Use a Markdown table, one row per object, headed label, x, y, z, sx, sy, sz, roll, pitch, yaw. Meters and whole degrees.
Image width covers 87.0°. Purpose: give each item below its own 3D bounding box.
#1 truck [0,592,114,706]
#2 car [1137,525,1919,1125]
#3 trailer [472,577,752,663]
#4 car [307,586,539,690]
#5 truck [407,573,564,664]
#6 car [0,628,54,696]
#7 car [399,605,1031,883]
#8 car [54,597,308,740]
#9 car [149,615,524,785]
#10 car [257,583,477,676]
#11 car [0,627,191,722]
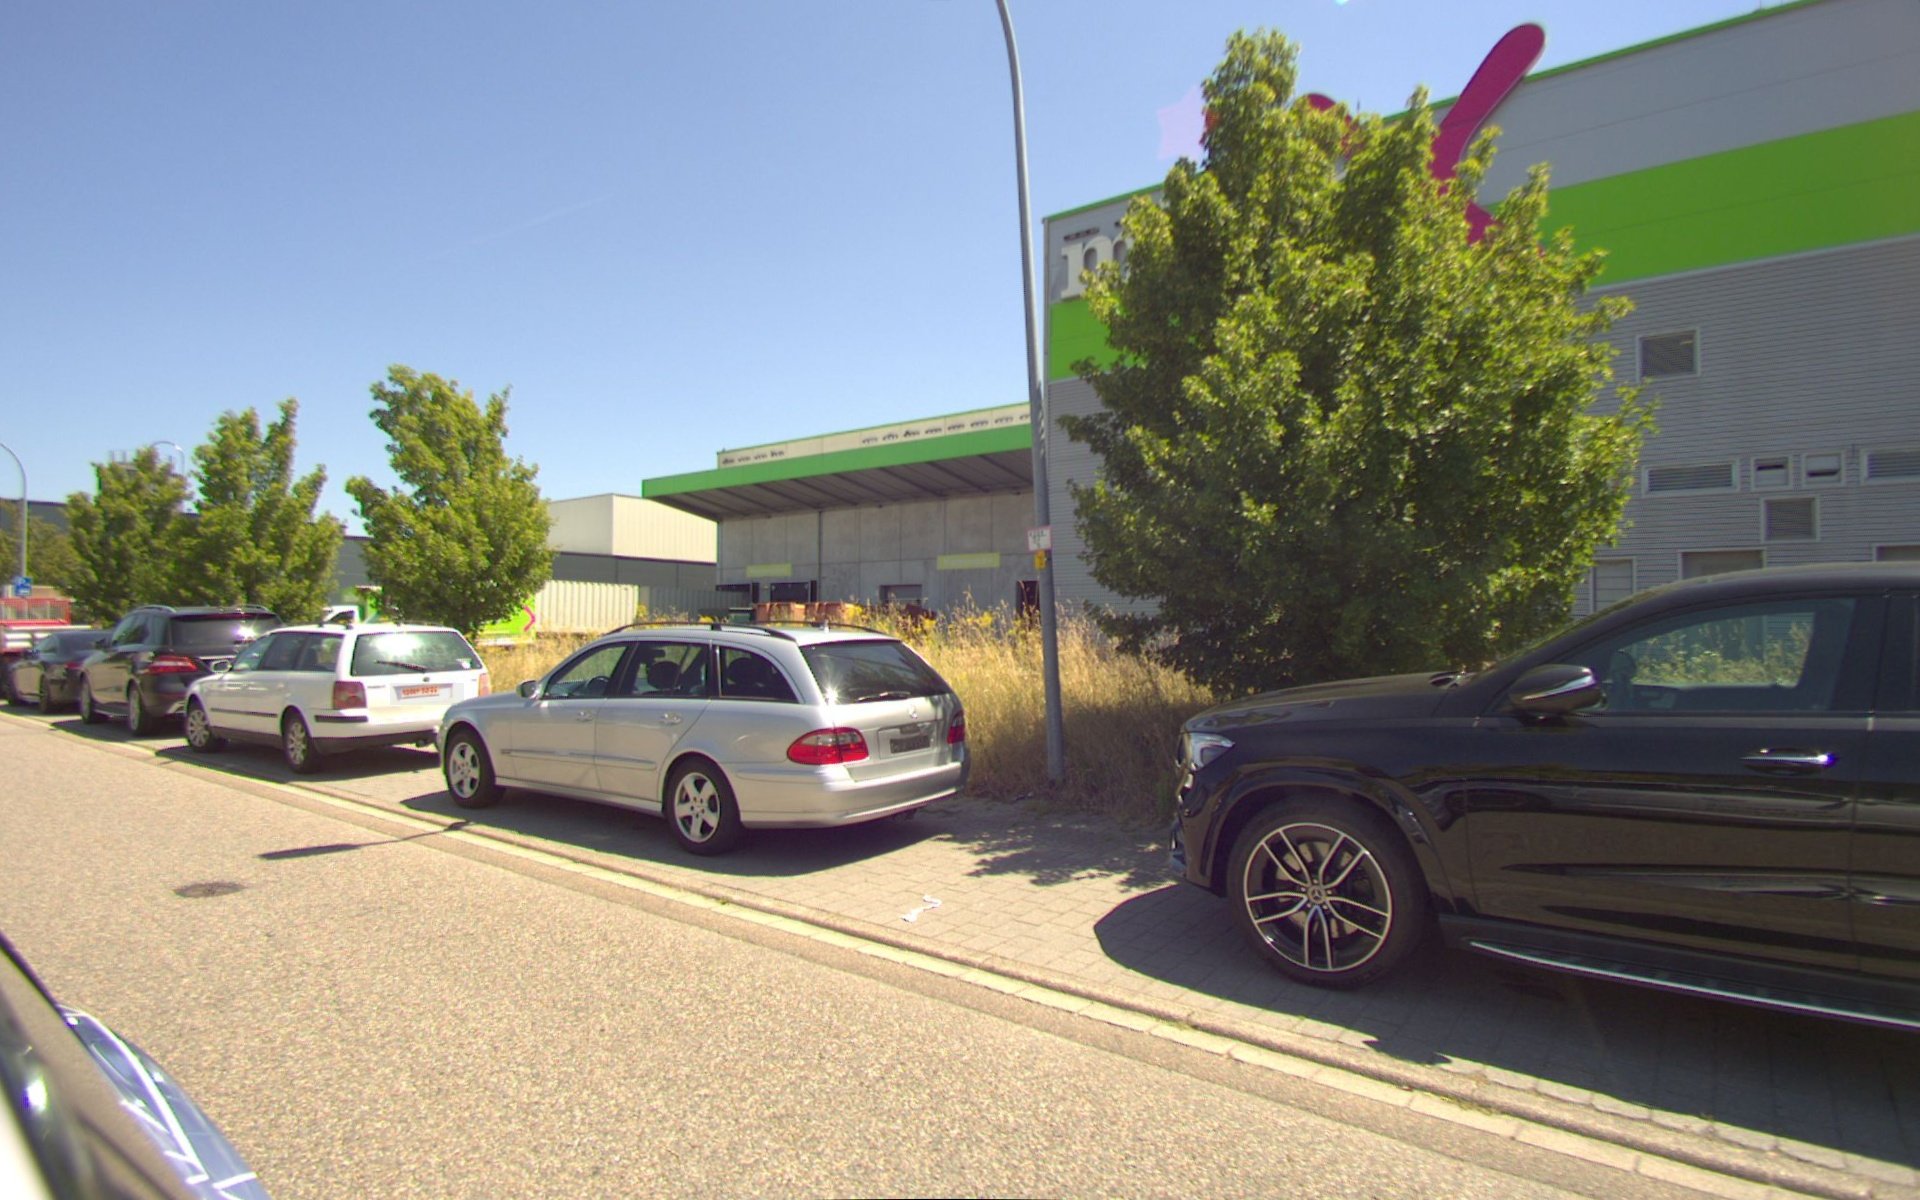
| label | x | y | z | sx | sy | sz | roll | pitch | yaw |
| --- | --- | --- | --- | --- | --- | --- | --- | --- | --- |
| truck | -20.246 | 1.013 | 22.040 | 4.638 | 2.239 | 1.834 | -1 | -1 | 37 |
| car | 3.355 | 0.650 | 3.701 | 5.000 | 1.726 | 1.972 | -2 | -1 | 38 |
| trailer | -18.307 | 1.294 | 55.305 | 3.215 | 4.119 | 15.173 | -2 | -3 | 38 |
| car | -16.636 | 1.148 | 31.686 | 2.517 | 2.948 | 5.919 | -2 | -2 | 37 |
| truck | -22.981 | 0.983 | 49.278 | 3.215 | 4.119 | 6.047 | -2 | -3 | 38 |
| car | -23.765 | 1.477 | 24.611 | 3.759 | 1.562 | 1.835 | -1 | -1 | 36 |
| car | -2.131 | 0.850 | 7.838 | 5.155 | 1.530 | 1.835 | -1 | -1 | 35 |
| car | -11.511 | 0.898 | 14.812 | 4.981 | 1.772 | 1.833 | -2 | -1 | 39 |
| car | -7.128 | 0.969 | 11.364 | 4.894 | 1.530 | 1.835 | -1 | -1 | 35 |
| car | -19.919 | 0.990 | 34.303 | 2.517 | 2.846 | 5.919 | -2 | -2 | 37 |
| car | -15.706 | 1.247 | 18.222 | 4.746 | 1.454 | 1.834 | -1 | -1 | 38 |
